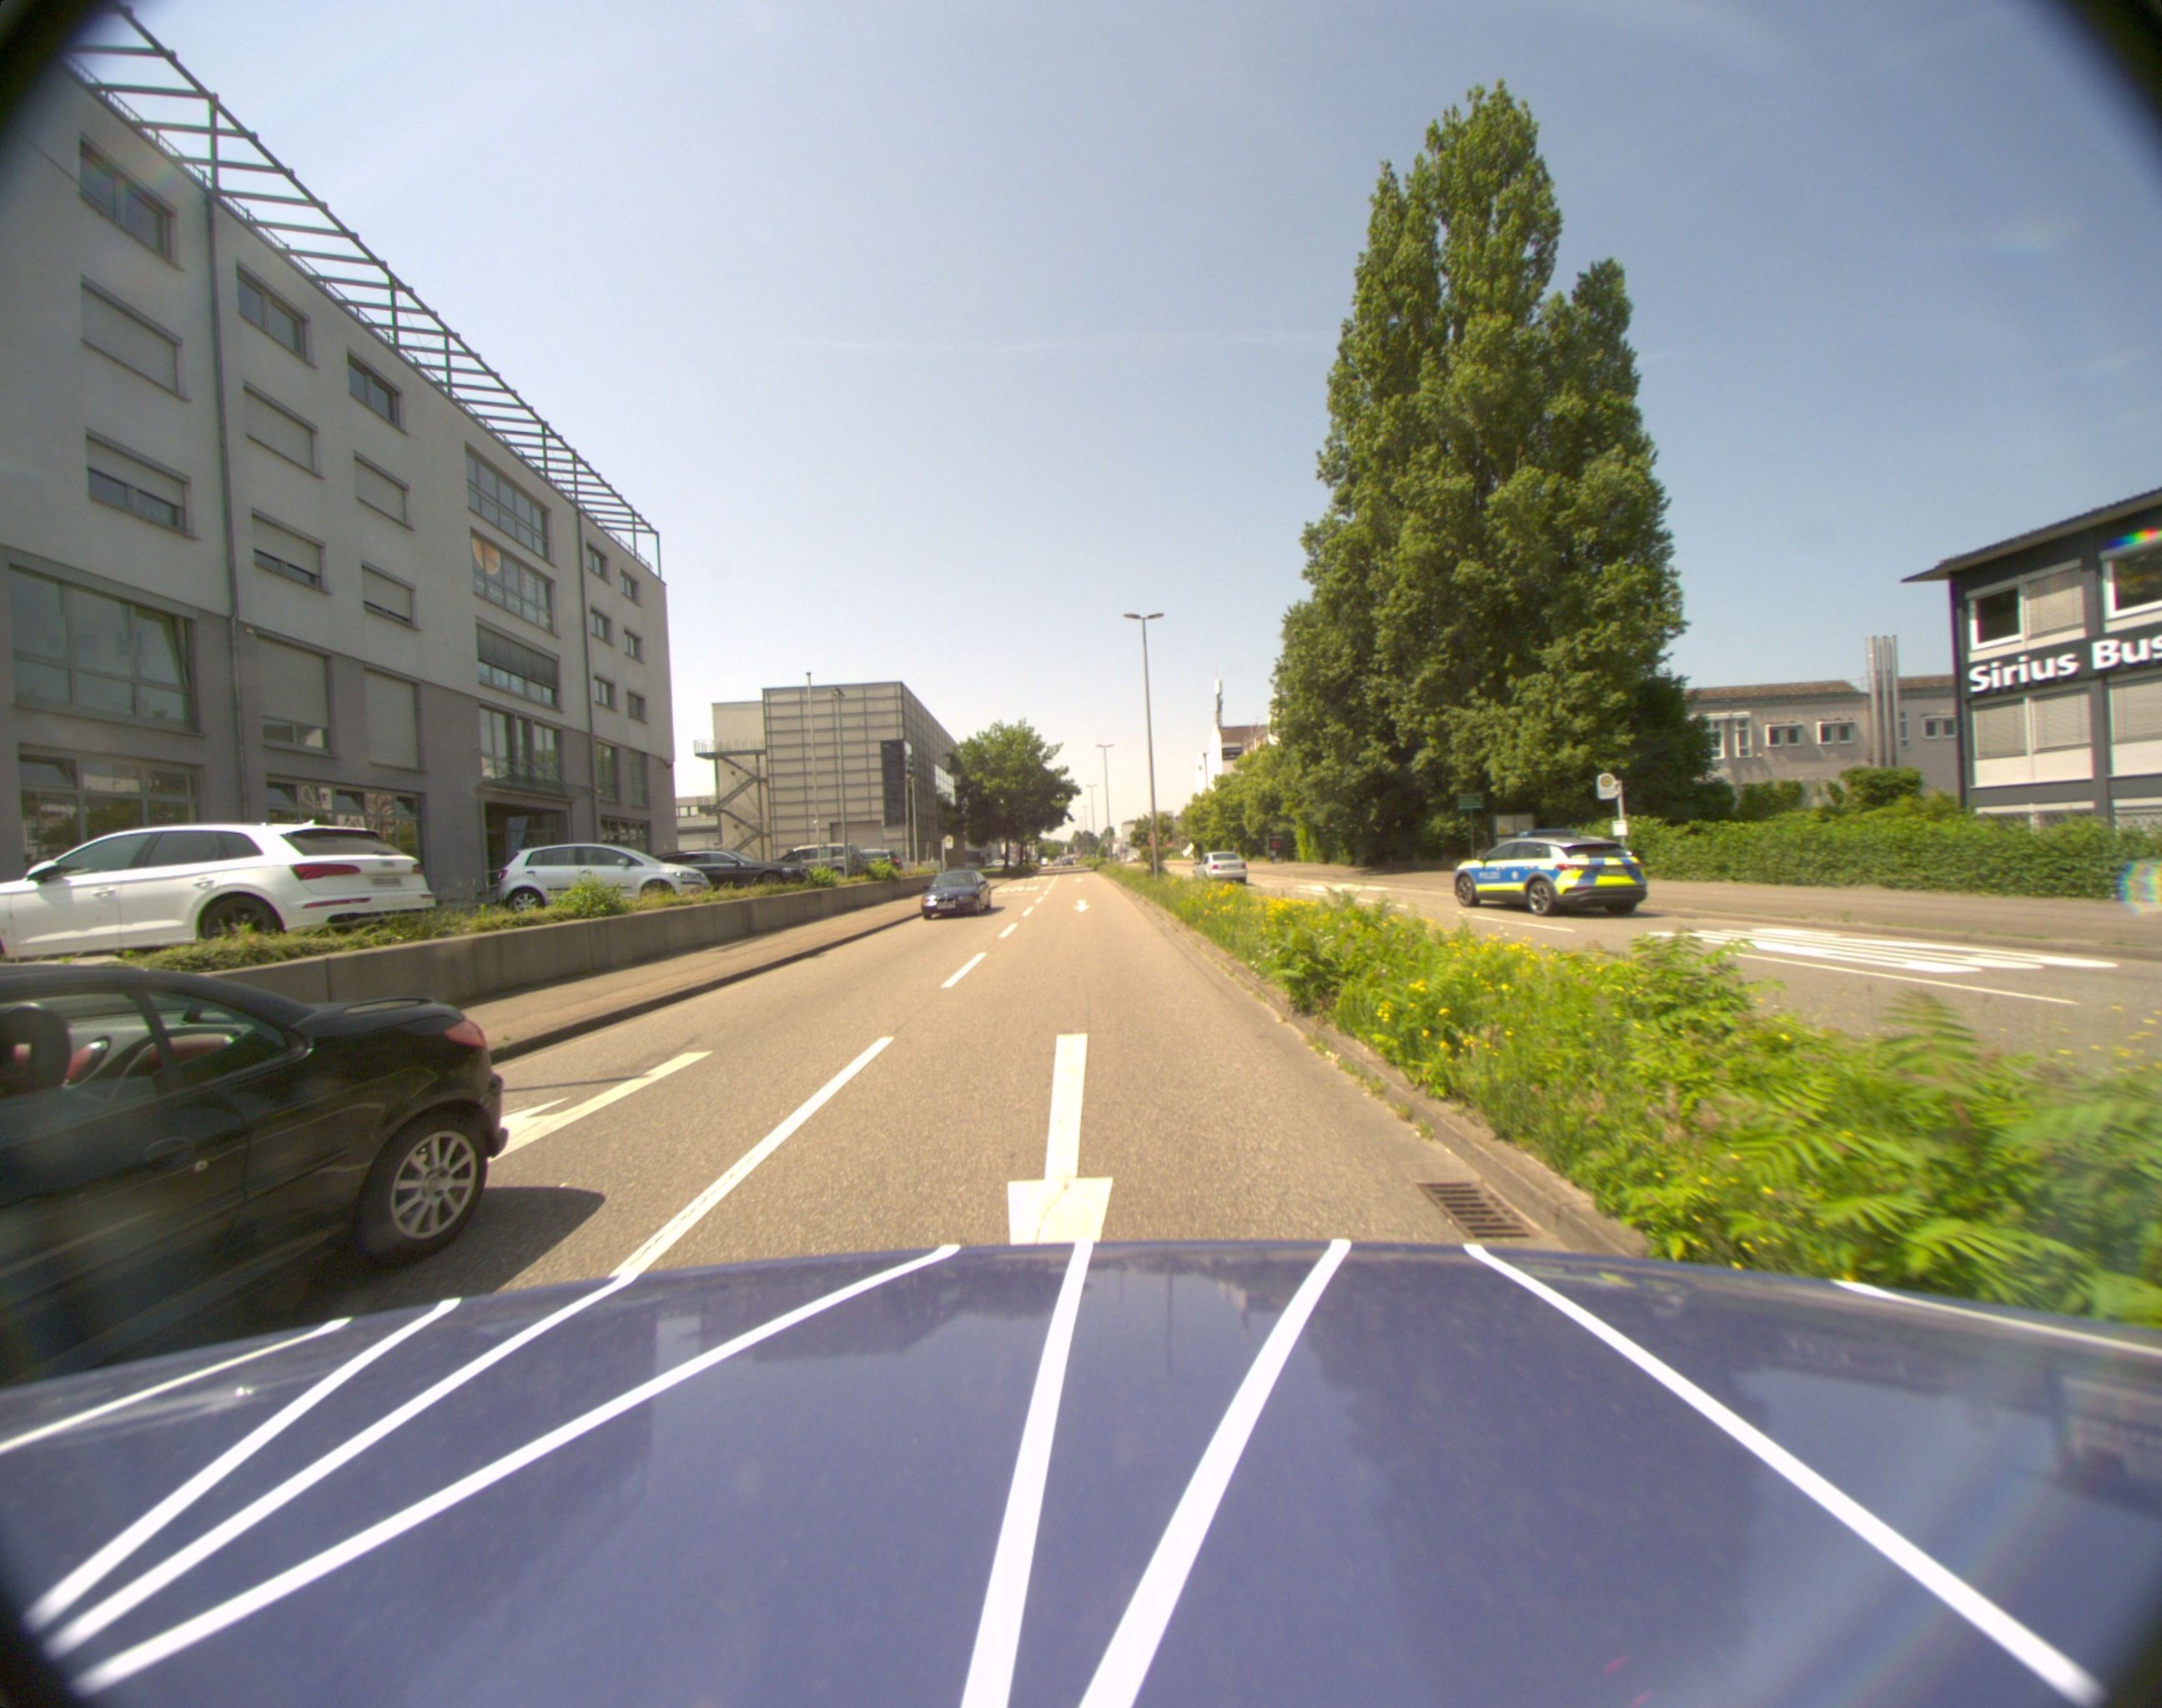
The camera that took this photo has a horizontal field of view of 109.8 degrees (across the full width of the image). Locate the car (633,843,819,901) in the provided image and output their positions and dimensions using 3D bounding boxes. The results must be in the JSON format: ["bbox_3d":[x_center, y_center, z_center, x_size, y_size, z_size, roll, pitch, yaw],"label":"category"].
[{"bbox_3d":[-10.827,0.513,23.453,4.761,1.373,1.798,-4,1,-5],"label":"car"}]

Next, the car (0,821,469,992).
[{"bbox_3d":[-10.620,0.580,9.201,4.476,1.601,2.095,-4,1,-4],"label":"car"}]

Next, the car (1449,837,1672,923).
[{"bbox_3d":[10.031,0.469,16.373,1.899,1.551,4.285,-2,1,-4],"label":"car"}]

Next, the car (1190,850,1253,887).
[{"bbox_3d":[6.048,0.594,33.165,1.764,1.410,4.090,-2,1,-2],"label":"car"}]

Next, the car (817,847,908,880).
[{"bbox_3d":[-11.247,0.455,39.329,4.137,1.477,1.758,-2,1,-2],"label":"car"}]

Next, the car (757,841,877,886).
[{"bbox_3d":[-10.683,0.358,30.957,4.137,1.477,1.758,-4,1,-1],"label":"car"}]

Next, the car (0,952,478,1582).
[{"bbox_3d":[-3.496,1.139,1.611,1.641,1.349,3.499,-1,1,-1],"label":"car"}]

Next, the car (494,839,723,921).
[{"bbox_3d":[-10.625,0.546,17.399,4.001,1.477,1.756,-4,1,-14],"label":"car"}]

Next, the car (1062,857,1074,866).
[{"bbox_3d":[-2.186,1.238,128.743,1.867,1.390,4.000,-2,0,1],"label":"car"}]

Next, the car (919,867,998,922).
[{"bbox_3d":[-3.702,1.193,23.584,1.711,1.316,3.955,-4,1,0],"label":"car"}]
